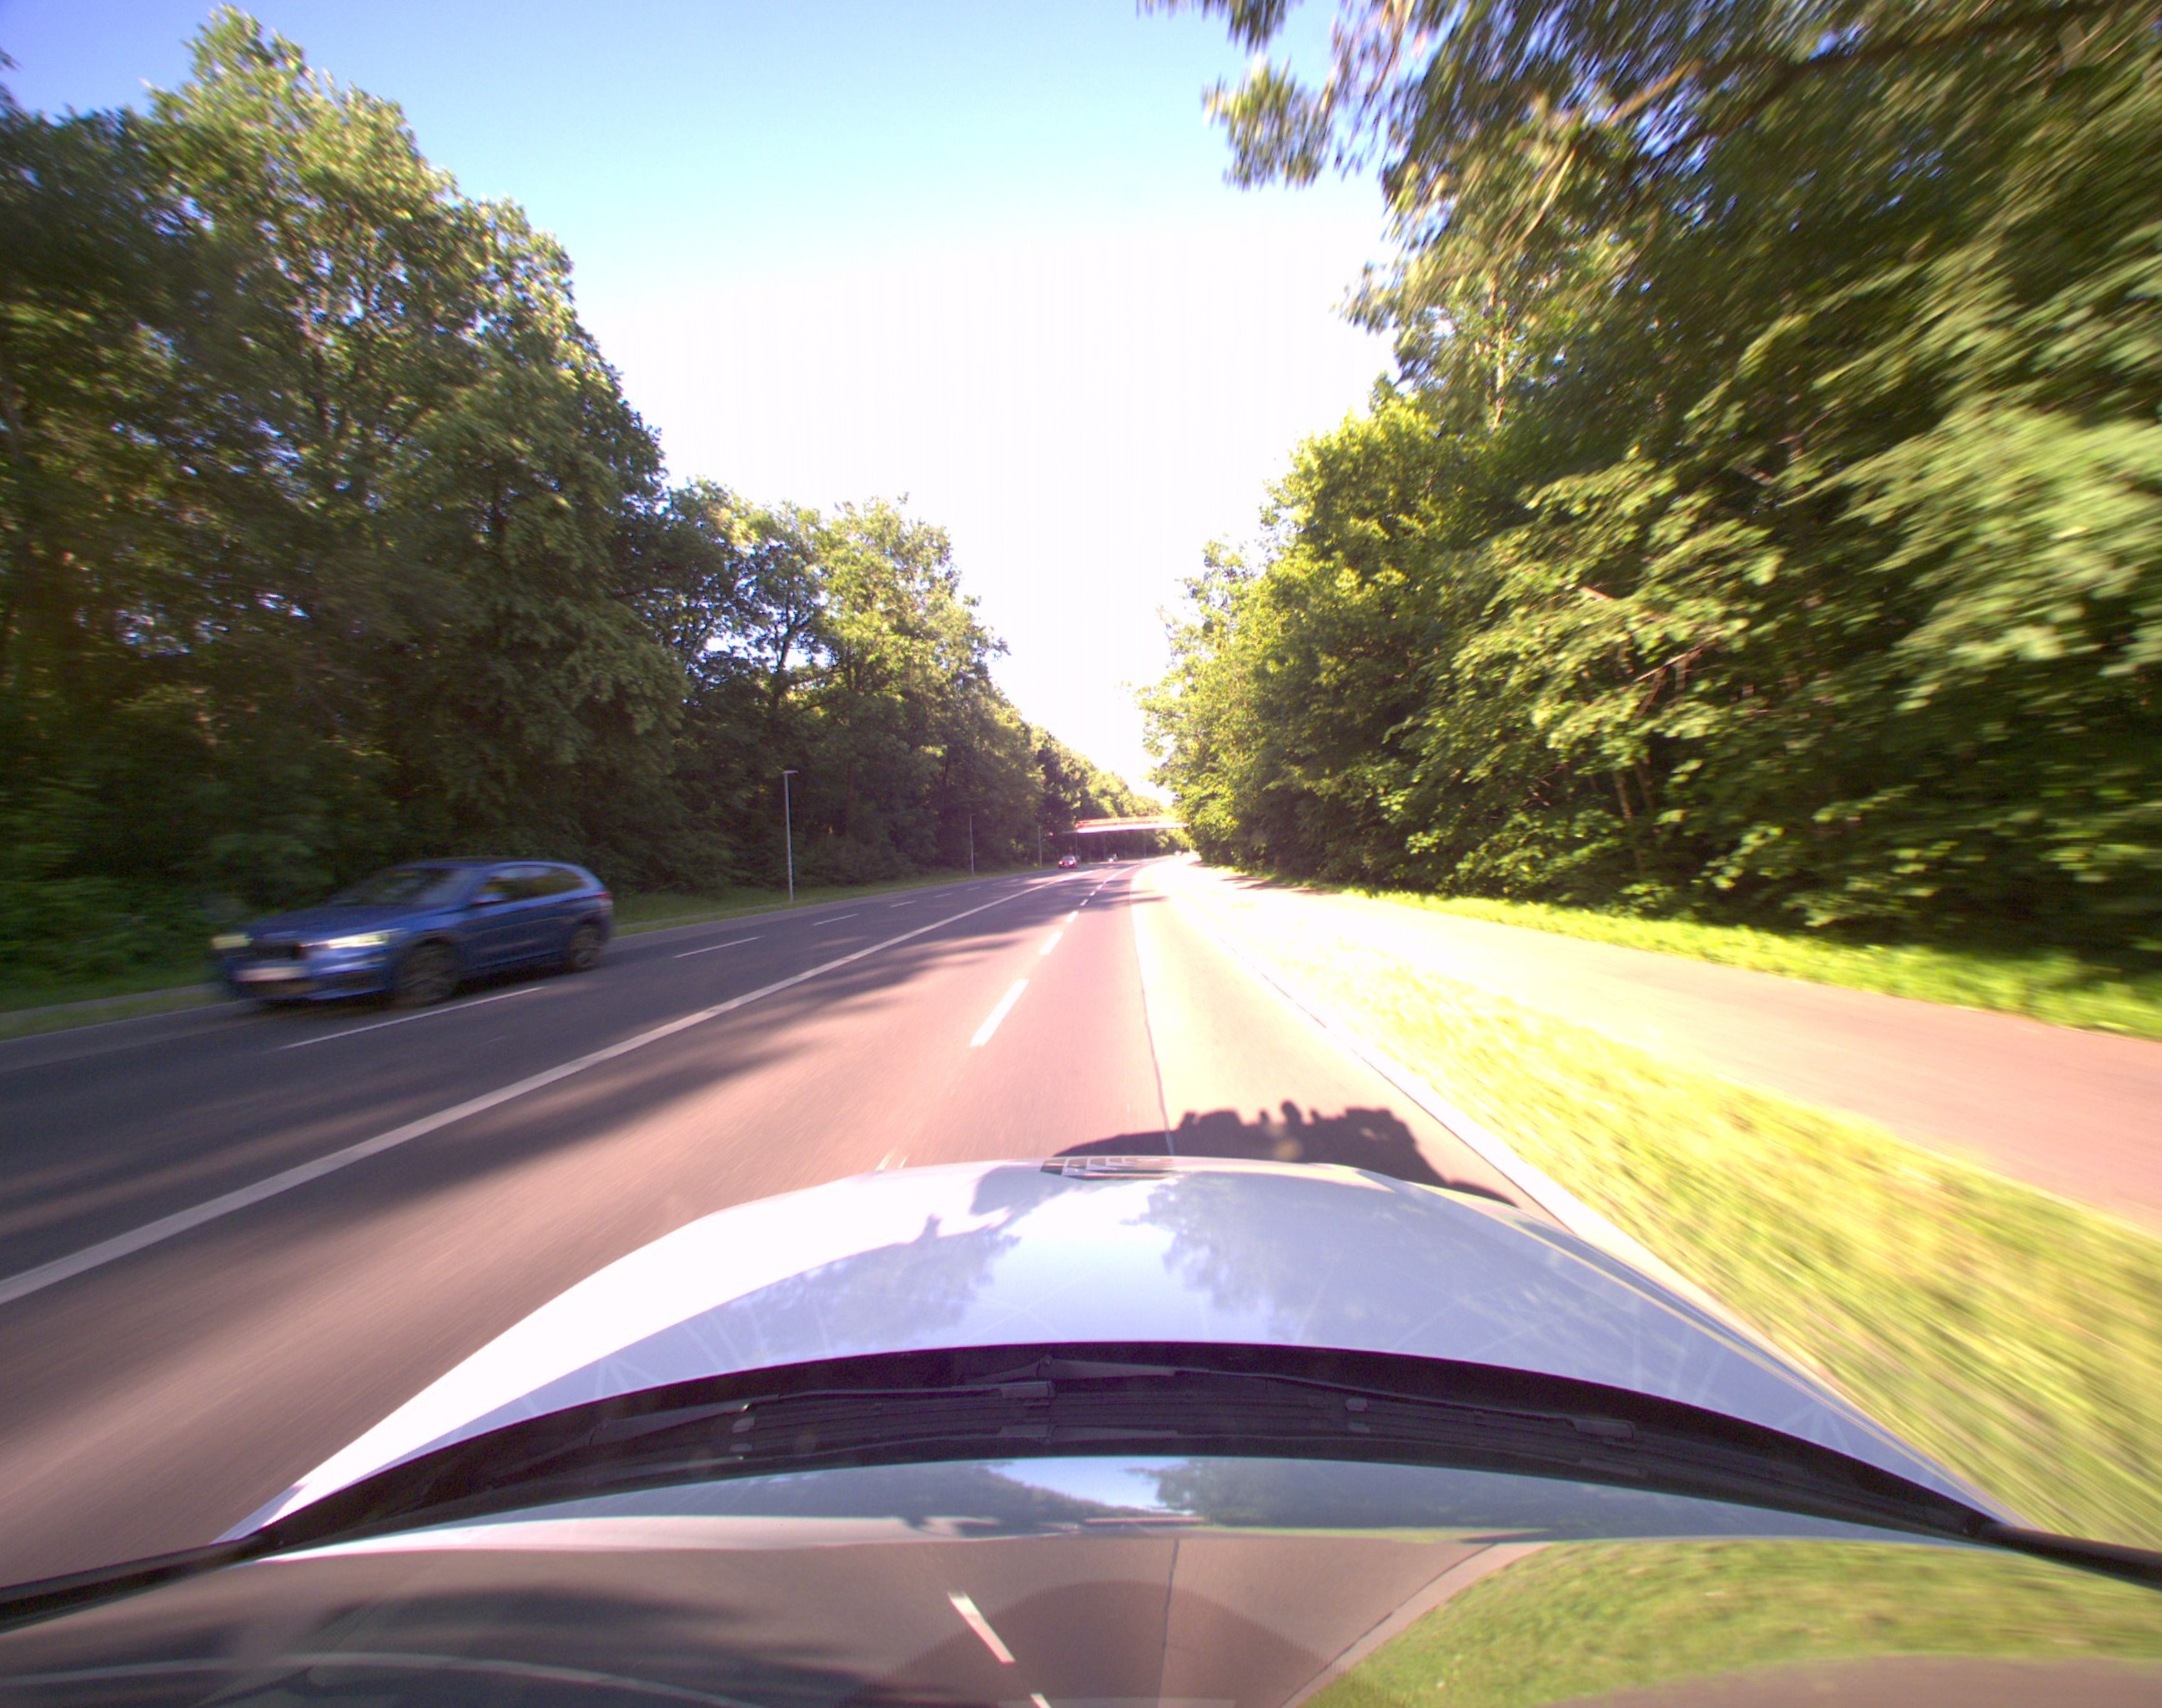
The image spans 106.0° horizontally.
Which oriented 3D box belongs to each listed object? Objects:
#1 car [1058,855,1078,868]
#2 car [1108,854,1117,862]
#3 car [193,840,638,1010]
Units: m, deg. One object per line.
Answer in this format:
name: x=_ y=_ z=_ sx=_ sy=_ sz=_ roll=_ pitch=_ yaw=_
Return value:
car: x=-1.473 y=0.828 z=92.532 sx=1.701 sy=1.423 sz=4.137 roll=-2 pitch=0 yaw=6
car: x=5.603 y=0.731 z=145.649 sx=1.488 sy=1.444 sz=3.504 roll=-2 pitch=0 yaw=4
car: x=-7.887 y=0.704 z=10.394 sx=1.800 sy=1.663 sz=4.524 roll=-1 pitch=0 yaw=2
